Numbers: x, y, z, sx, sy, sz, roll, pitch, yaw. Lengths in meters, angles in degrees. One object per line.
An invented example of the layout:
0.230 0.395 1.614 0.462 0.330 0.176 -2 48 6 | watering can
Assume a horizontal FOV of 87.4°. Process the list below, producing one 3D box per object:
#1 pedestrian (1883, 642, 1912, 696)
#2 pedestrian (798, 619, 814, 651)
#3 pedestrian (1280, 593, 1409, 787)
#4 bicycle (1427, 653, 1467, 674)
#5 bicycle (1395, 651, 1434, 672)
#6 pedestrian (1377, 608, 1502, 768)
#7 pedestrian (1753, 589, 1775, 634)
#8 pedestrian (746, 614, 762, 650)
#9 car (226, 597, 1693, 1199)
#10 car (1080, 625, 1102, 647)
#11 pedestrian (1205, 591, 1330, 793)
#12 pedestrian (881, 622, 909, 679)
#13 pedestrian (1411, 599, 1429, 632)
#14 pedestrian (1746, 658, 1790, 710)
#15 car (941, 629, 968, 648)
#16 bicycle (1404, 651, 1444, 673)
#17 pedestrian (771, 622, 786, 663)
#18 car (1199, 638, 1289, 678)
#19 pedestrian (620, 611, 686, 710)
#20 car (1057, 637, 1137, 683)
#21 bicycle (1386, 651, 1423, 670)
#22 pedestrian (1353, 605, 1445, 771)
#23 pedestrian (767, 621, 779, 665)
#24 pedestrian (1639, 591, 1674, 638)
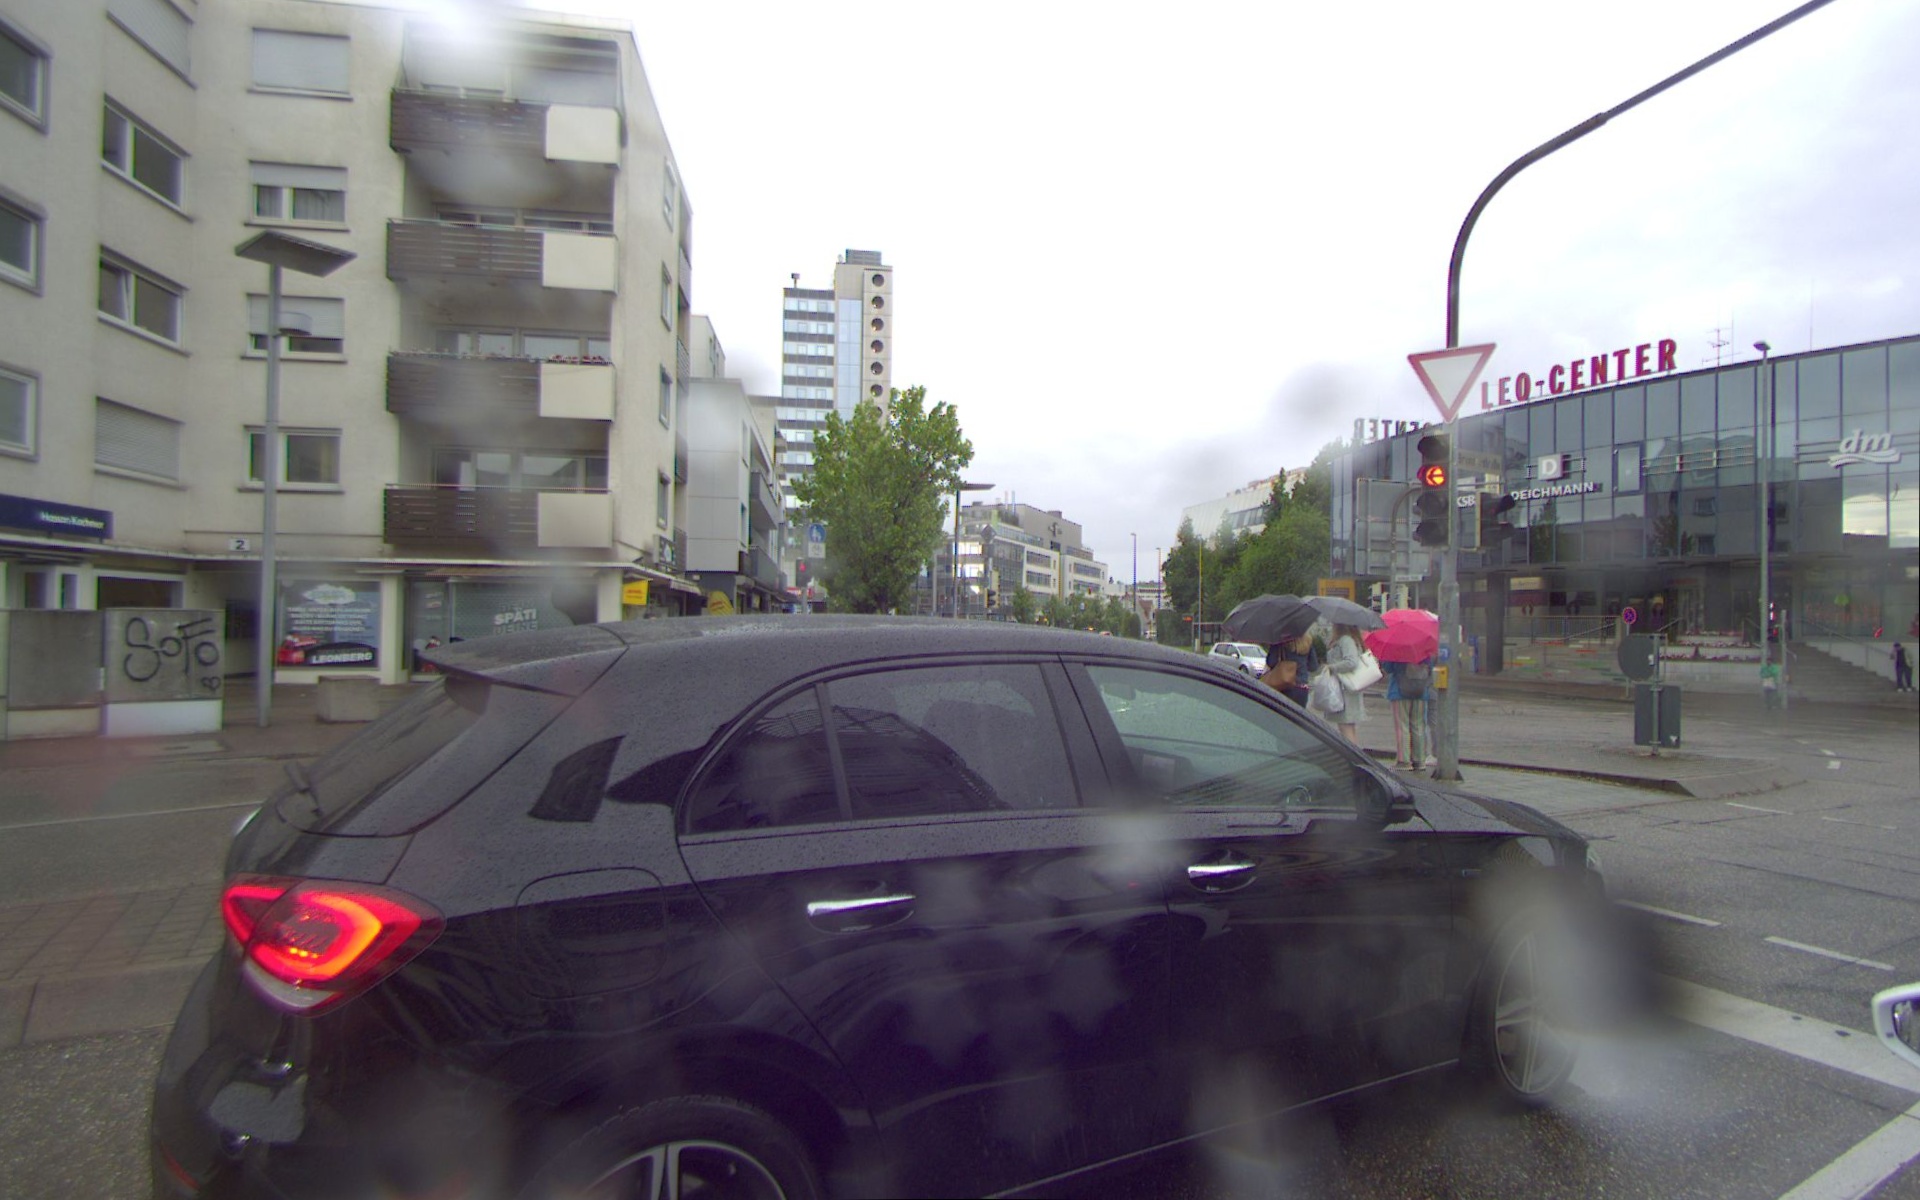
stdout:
34.175 2.509 36.607 0.589 1.933 0.651 2 -1 -37 | pedestrian
-9.036 2.072 58.944 0.859 1.835 0.923 1 -1 -10 | pedestrian
3.728 0.845 9.833 0.843 1.767 1.139 1 -2 3 | pedestrian
24.487 3.181 50.521 1.822 1.036 0.631 0 -2 -12 | bicycle
23.935 3.223 52.887 1.822 1.047 0.628 -1 -1 -12 | bicycle
5.405 0.961 11.336 0.906 1.699 0.931 2 -2 -30 | pedestrian
33.511 0.467 41.864 0.625 1.831 0.501 2 0 43 | pedestrian
-11.971 1.875 58.376 0.859 2.040 0.923 1 -1 -10 | pedestrian
0.349 0.782 3.073 4.048 1.501 1.654 1 1 -32 | car
12.500 3.428 96.201 2.008 1.921 4.141 1 -1 6 | car
2.887 0.823 9.398 0.937 1.759 0.835 0 -2 30 | pedestrian
-1.932 1.506 29.976 0.799 1.677 0.714 1 -2 -3 | pedestrian
25.077 0.842 54.776 0.642 1.736 0.599 2 0 -6 | pedestrian
26.698 2.757 33.192 0.801 1.644 0.943 2 -2 -34 | pedestrian
-0.439 2.907 77.044 1.414 1.314 3.770 2 -1 -11 | car
24.088 3.219 52.145 1.822 1.056 0.646 -1 -1 -12 | bicycle
-8.163 1.907 45.135 0.557 1.817 0.491 1 -2 -4 | pedestrian
11.436 2.324 40.725 1.717 1.460 3.980 2 -1 -15 | car
-5.168 1.010 16.906 0.904 1.606 0.651 2 -2 -33 | pedestrian
4.766 2.070 35.688 2.082 1.432 5.147 2 -2 0 | car
23.704 3.225 53.553 1.821 0.964 0.535 -1 0 -8 | bicycle
4.720 0.926 10.841 0.790 1.707 0.674 1 -2 14 | pedestrian
-7.634 1.751 40.958 0.441 1.746 0.499 1 -2 -12 | pedestrian
31.003 0.658 44.711 0.816 2.040 0.952 2 0 -4 | pedestrian
